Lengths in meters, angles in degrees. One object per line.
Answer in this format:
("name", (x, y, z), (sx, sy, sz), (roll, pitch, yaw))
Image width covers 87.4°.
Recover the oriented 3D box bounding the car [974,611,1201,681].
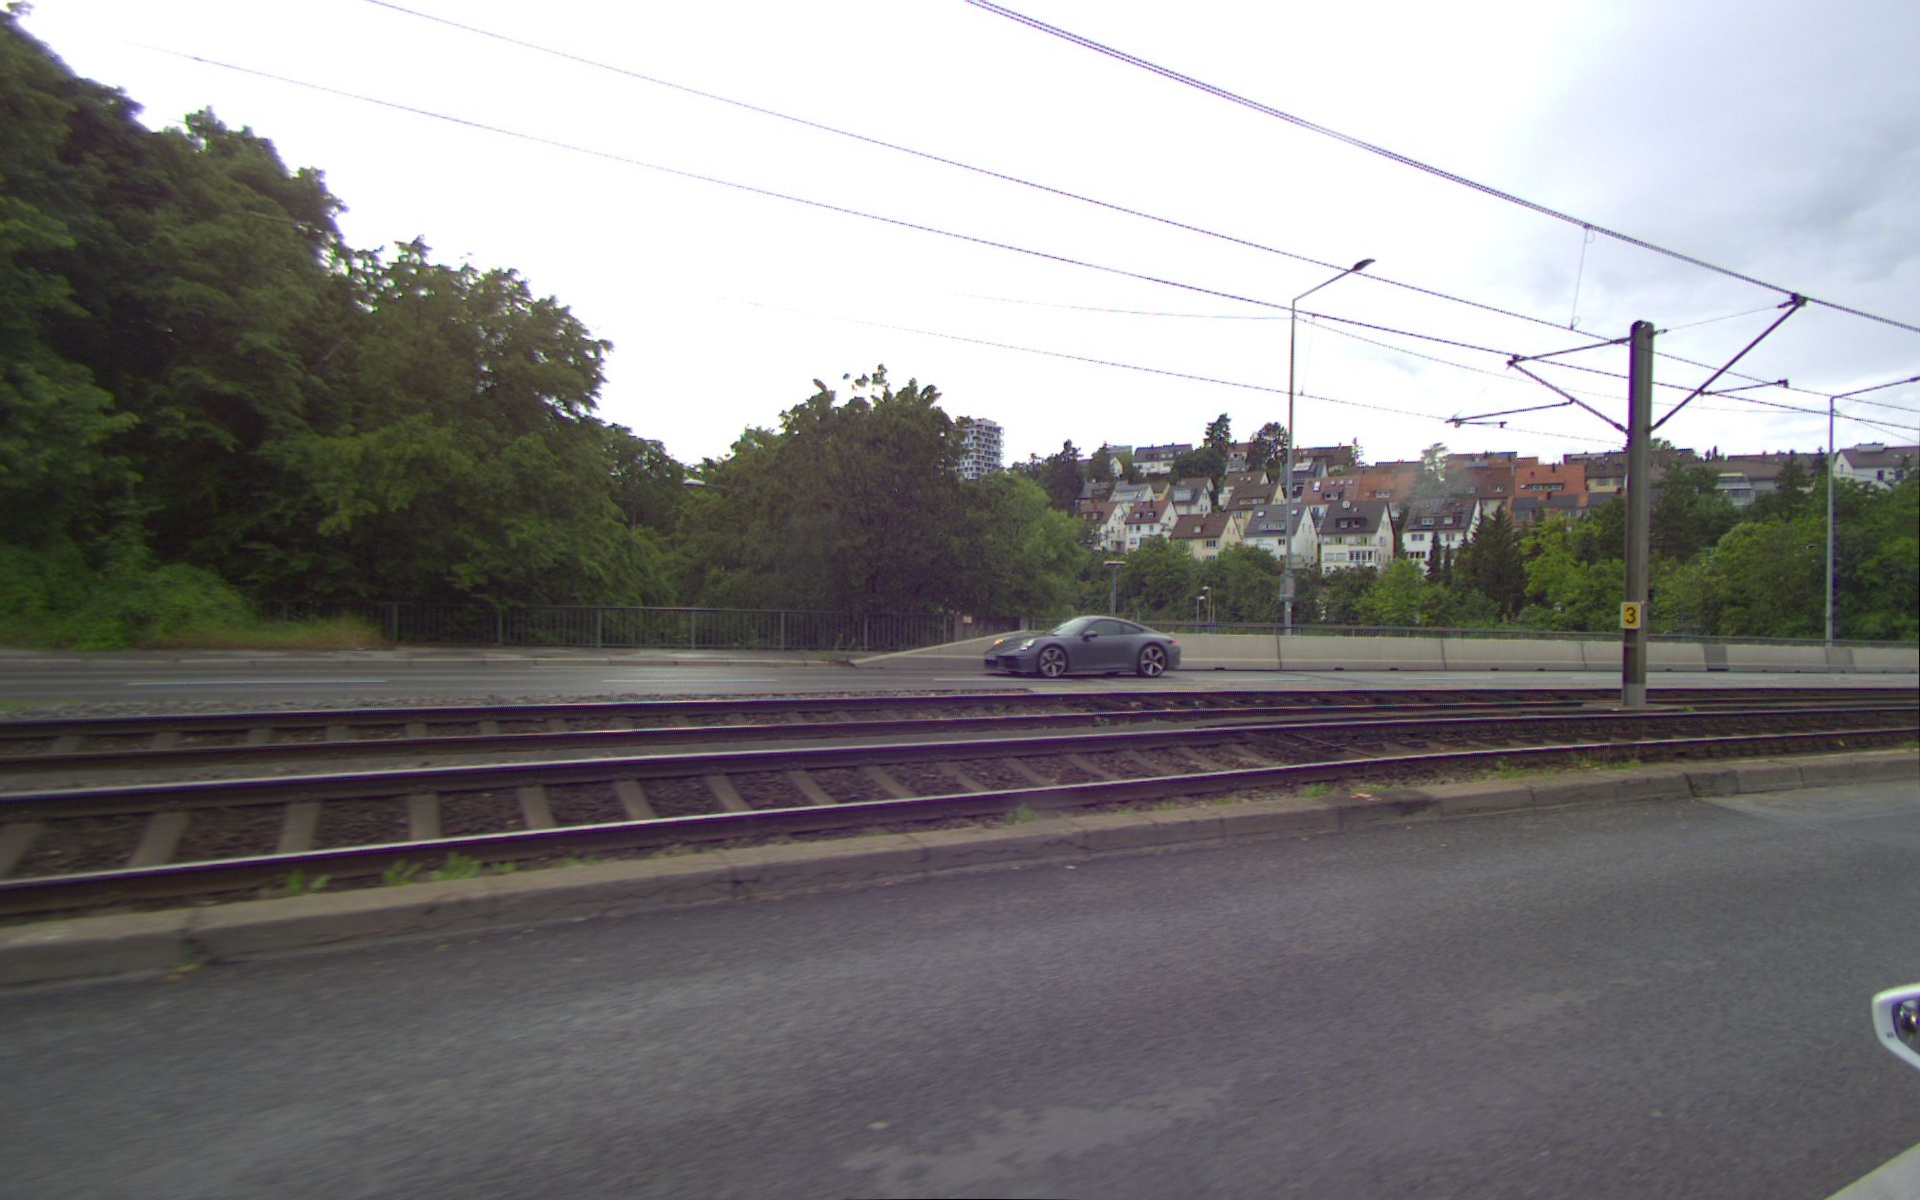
("car", (2.757, 0.992, 21.631), (4.554, 1.331, 1.832), (3, -2, -24))
